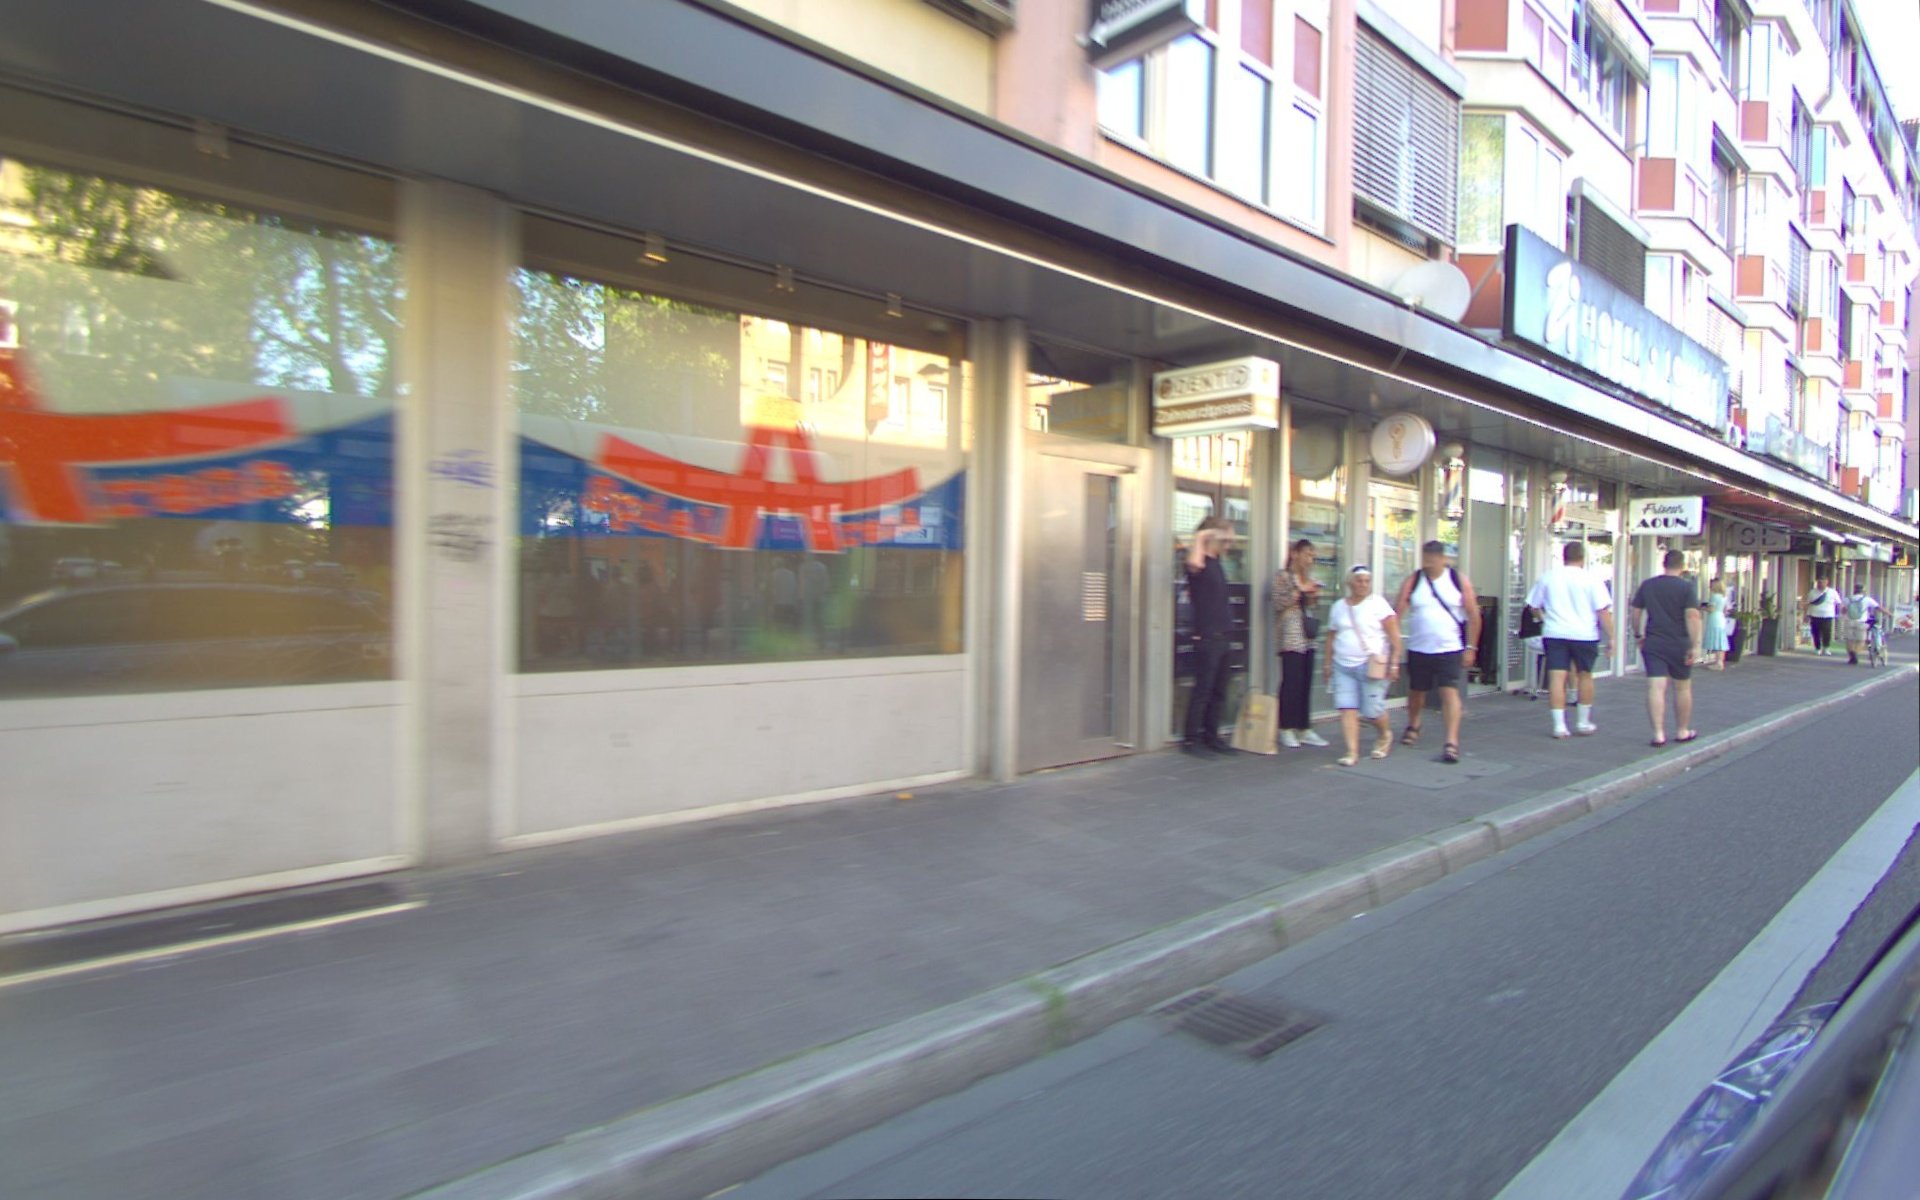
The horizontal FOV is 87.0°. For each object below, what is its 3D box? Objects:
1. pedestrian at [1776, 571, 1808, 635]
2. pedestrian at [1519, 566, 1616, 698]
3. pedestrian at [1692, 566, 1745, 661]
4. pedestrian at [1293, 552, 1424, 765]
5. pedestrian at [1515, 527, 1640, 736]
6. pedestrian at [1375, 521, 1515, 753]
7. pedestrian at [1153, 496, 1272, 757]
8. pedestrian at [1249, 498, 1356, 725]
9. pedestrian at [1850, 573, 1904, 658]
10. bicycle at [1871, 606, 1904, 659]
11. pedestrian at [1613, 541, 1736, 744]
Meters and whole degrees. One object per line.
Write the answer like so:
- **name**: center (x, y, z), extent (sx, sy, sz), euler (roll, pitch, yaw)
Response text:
- **pedestrian**: center (21.919, 0.078, 26.660), extent (0.512, 1.653, 0.518), euler (0, 1, -36)
- **pedestrian**: center (7.266, 0.355, 12.109), extent (0.694, 1.490, 0.740), euler (0, 4, -40)
- **pedestrian**: center (13.282, 0.224, 17.718), extent (0.544, 1.610, 0.601), euler (0, 2, -41)
- **pedestrian**: center (3.024, 0.407, 7.684), extent (0.643, 1.501, 0.637), euler (0, 4, -42)
- **pedestrian**: center (5.785, 0.263, 9.490), extent (0.750, 1.842, 0.707), euler (0, 4, -41)
- **pedestrian**: center (3.929, 0.277, 8.199), extent (0.800, 1.749, 0.745), euler (0, 0, -41)
- **pedestrian**: center (1.918, 0.178, 7.670), extent (0.797, 1.872, 0.452), euler (0, 2, -40)
- **pedestrian**: center (2.841, 0.078, 8.411), extent (0.492, 1.791, 0.630), euler (0, 2, -40)
- **pedestrian**: center (18.520, 0.301, 20.438), extent (0.693, 1.650, 0.664), euler (0, 3, -42)
- **bicycle**: center (18.662, 0.640, 20.347), extent (1.730, 1.002, 0.303), euler (0, 2, -42)
- **pedestrian**: center (6.552, 0.354, 9.279), extent (0.796, 1.749, 0.668), euler (0, 4, -42)
